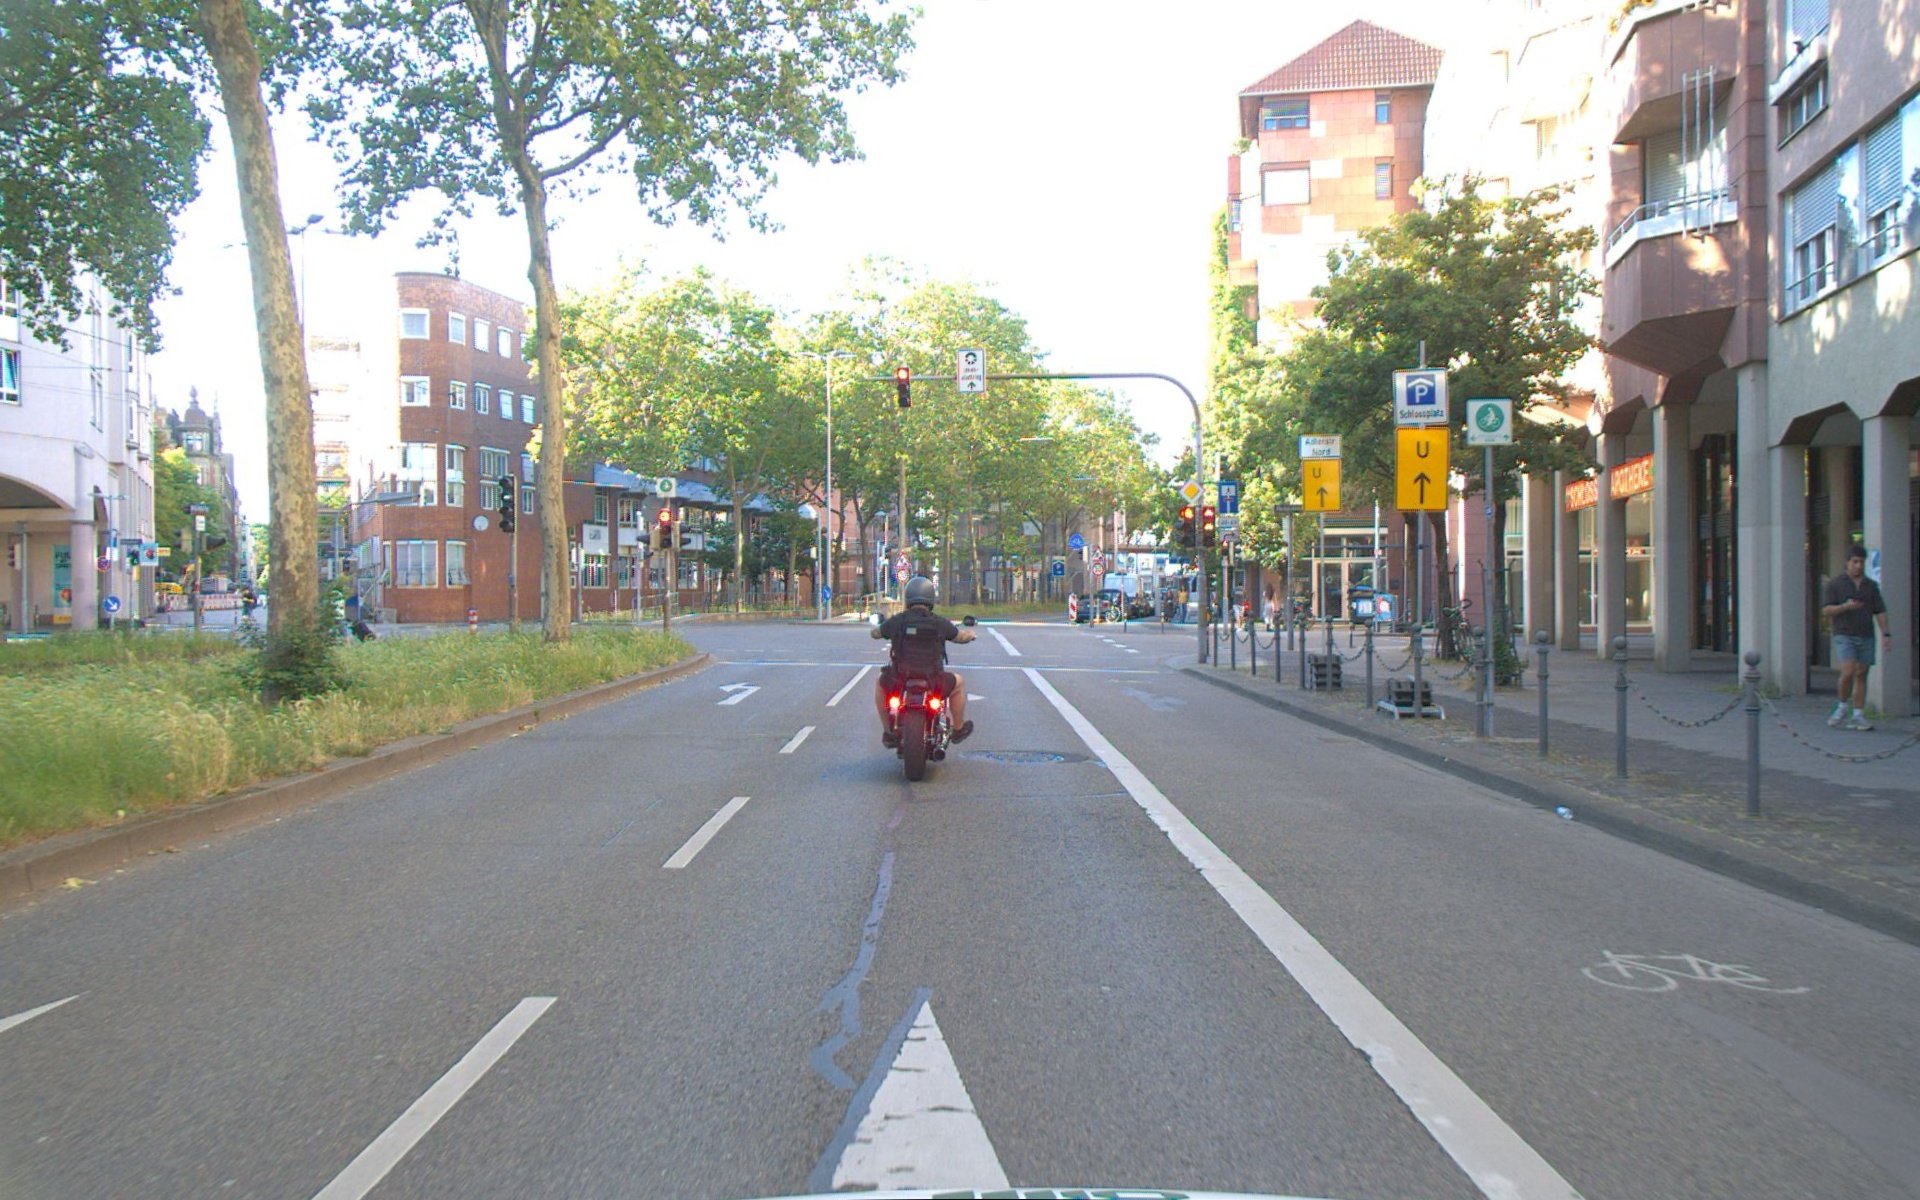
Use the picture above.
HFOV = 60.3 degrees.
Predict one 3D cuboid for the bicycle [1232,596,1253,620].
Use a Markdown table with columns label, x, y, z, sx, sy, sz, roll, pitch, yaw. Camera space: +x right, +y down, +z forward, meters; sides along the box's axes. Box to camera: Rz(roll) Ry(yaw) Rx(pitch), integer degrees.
| label | x | y | z | sx | sy | sz | roll | pitch | yaw |
| --- | --- | --- | --- | --- | --- | --- | --- | --- | --- |
| bicycle | 11.968 | 0.338 | 70.148 | 0.721 | 0.956 | 1.753 | 0 | 0 | 5 |

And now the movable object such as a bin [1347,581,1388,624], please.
| label | x | y | z | sx | sy | sz | roll | pitch | yaw |
| --- | --- | --- | --- | --- | --- | --- | --- | --- | --- |
| movable object such as a bin | 14.538 | 0.075 | 59.066 | 1.380 | 1.508 | 0.872 | 0 | 0 | 12 |

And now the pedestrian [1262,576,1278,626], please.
| label | x | y | z | sx | sy | sz | roll | pitch | yaw |
| --- | --- | --- | --- | --- | --- | --- | --- | --- | --- |
| pedestrian | 10.595 | 0.023 | 56.513 | 0.449 | 1.702 | 0.680 | 0 | 0 | 3 |

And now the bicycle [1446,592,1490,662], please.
| label | x | y | z | sx | sy | sz | roll | pitch | yaw |
| --- | --- | --- | --- | --- | --- | --- | --- | --- | --- |
| bicycle | 9.379 | 0.477 | 30.579 | 0.608 | 1.247 | 1.928 | 0 | 0 | 13 |

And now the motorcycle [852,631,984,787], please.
| label | x | y | z | sx | sy | sz | roll | pitch | yaw |
| --- | --- | --- | --- | --- | --- | --- | --- | --- | --- |
| motorcycle | -0.302 | 0.844 | 13.511 | 0.997 | 1.116 | 2.008 | 0 | 1 | 1 |

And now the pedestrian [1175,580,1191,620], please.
| label | x | y | z | sx | sy | sz | roll | pitch | yaw |
| --- | --- | --- | --- | --- | --- | --- | --- | --- | --- |
| pedestrian | 10.024 | 0.007 | 74.349 | 0.685 | 1.764 | 0.768 | 0 | 0 | 4 |

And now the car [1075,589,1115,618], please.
| label | x | y | z | sx | sy | sz | roll | pitch | yaw |
| --- | --- | --- | --- | --- | --- | --- | --- | --- | --- |
| car | 6.376 | 0.148 | 77.824 | 1.585 | 1.325 | 4.315 | 0 | 0 | 9 |

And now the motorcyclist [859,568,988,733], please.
| label | x | y | z | sx | sy | sz | roll | pitch | yaw |
| --- | --- | --- | --- | --- | --- | --- | --- | --- | --- |
| motorcyclist | -0.287 | 0.396 | 13.593 | 0.991 | 1.285 | 0.774 | 2 | 1 | 0 |

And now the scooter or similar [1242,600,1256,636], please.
| label | x | y | z | sx | sy | sz | roll | pitch | yaw |
| --- | --- | --- | --- | --- | --- | --- | --- | --- | --- |
| scooter or similar | 9.909 | 0.612 | 56.679 | 0.386 | 1.178 | 1.250 | 0 | 0 | 6 |

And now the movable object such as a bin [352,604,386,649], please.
| label | x | y | z | sx | sy | sz | roll | pitch | yaw |
| --- | --- | --- | --- | --- | --- | --- | --- | --- | --- |
| movable object such as a bin | -12.934 | 0.582 | 36.205 | 0.499 | 0.970 | 0.540 | 0 | 0 | 13 |

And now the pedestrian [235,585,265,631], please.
| label | x | y | z | sx | sy | sz | roll | pitch | yaw |
| --- | --- | --- | --- | --- | --- | --- | --- | --- | --- |
| pedestrian | -29.297 | 0.332 | 68.288 | 0.837 | 1.902 | 0.753 | -1 | 0 | 8 |

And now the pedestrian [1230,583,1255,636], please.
| label | x | y | z | sx | sy | sz | roll | pitch | yaw |
| --- | --- | --- | --- | --- | --- | --- | --- | --- | --- |
| pedestrian | 9.660 | 0.319 | 56.602 | 0.769 | 1.794 | 0.610 | 0 | 0 | 3 |

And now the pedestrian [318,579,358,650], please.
| label | x | y | z | sx | sy | sz | roll | pitch | yaw |
| --- | --- | --- | --- | --- | --- | --- | --- | --- | --- |
| pedestrian | -13.528 | 0.314 | 35.981 | 0.605 | 1.530 | 0.535 | 0 | 0 | 12 |

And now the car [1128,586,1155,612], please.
| label | x | y | z | sx | sy | sz | roll | pitch | yaw |
| --- | --- | --- | --- | --- | --- | --- | --- | --- | --- |
| car | 11.786 | -0.099 | 107.123 | 1.585 | 1.638 | 3.777 | 0 | 0 | 8 |

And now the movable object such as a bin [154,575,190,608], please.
| label | x | y | z | sx | sy | sz | roll | pitch | yaw |
| --- | --- | --- | --- | --- | --- | --- | --- | --- | --- |
| movable object such as a bin | -58.710 | -0.637 | 123.274 | 1.894 | 2.351 | 2.778 | -1 | 0 | -14 |

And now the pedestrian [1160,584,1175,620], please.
| label | x | y | z | sx | sy | sz | roll | pitch | yaw |
| --- | --- | --- | --- | --- | --- | --- | --- | --- | --- |
| pedestrian | 9.371 | 0.095 | 74.574 | 0.630 | 1.606 | 0.748 | 0 | 0 | 4 |

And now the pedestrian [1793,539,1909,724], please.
| label | x | y | z | sx | sy | sz | roll | pitch | yaw |
| --- | --- | --- | --- | --- | --- | --- | --- | --- | --- |
| pedestrian | 8.756 | 0.297 | 16.287 | 0.764 | 1.769 | 0.837 | 0 | 0 | 9 |

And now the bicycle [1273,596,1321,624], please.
| label | x | y | z | sx | sy | sz | roll | pitch | yaw |
| --- | --- | --- | --- | --- | --- | --- | --- | --- | --- |
| bicycle | 13.176 | 0.396 | 64.742 | 1.713 | 1.071 | 0.738 | 0 | 0 | 28 |

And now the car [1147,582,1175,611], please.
| label | x | y | z | sx | sy | sz | roll | pitch | yaw |
| --- | --- | --- | --- | --- | --- | --- | --- | --- | --- |
| car | 14.388 | -0.269 | 118.294 | 1.796 | 2.049 | 4.392 | 0 | 0 | 10 |

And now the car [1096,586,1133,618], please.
| label | x | y | z | sx | sy | sz | roll | pitch | yaw |
| --- | --- | --- | --- | --- | --- | --- | --- | --- | --- |
| car | 8.202 | 0.088 | 87.710 | 1.585 | 1.647 | 4.489 | 0 | 0 | 10 |

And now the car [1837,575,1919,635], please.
| label | x | y | z | sx | sy | sz | roll | pitch | yaw |
| --- | --- | --- | --- | --- | --- | --- | --- | --- | --- |
| car | 28.649 | 0.132 | 49.285 | 4.095 | 1.752 | 1.803 | 0 | 0 | 9 |

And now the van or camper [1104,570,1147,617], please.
| label | x | y | z | sx | sy | sz | roll | pitch | yaw |
| --- | --- | --- | --- | --- | --- | --- | --- | --- | --- |
| van or camper | 9.455 | -0.355 | 94.108 | 2.005 | 2.585 | 5.778 | 0 | 0 | 10 |

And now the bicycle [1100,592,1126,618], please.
| label | x | y | z | sx | sy | sz | roll | pitch | yaw |
| --- | --- | --- | --- | --- | --- | --- | --- | --- | --- |
| bicycle | 6.556 | 0.196 | 70.820 | 0.723 | 1.071 | 1.749 | 0 | 0 | -9 |

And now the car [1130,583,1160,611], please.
| label | x | y | z | sx | sy | sz | roll | pitch | yaw |
| --- | --- | --- | --- | --- | --- | --- | --- | --- | --- |
| car | 12.504 | -0.202 | 111.814 | 1.585 | 1.898 | 3.777 | 0 | 0 | 13 |

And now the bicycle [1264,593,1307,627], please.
| label | x | y | z | sx | sy | sz | roll | pitch | yaw |
| --- | --- | --- | --- | --- | --- | --- | --- | --- | --- |
| bicycle | 12.154 | 0.359 | 61.783 | 1.534 | 1.248 | 0.578 | 0 | 0 | 6 |
